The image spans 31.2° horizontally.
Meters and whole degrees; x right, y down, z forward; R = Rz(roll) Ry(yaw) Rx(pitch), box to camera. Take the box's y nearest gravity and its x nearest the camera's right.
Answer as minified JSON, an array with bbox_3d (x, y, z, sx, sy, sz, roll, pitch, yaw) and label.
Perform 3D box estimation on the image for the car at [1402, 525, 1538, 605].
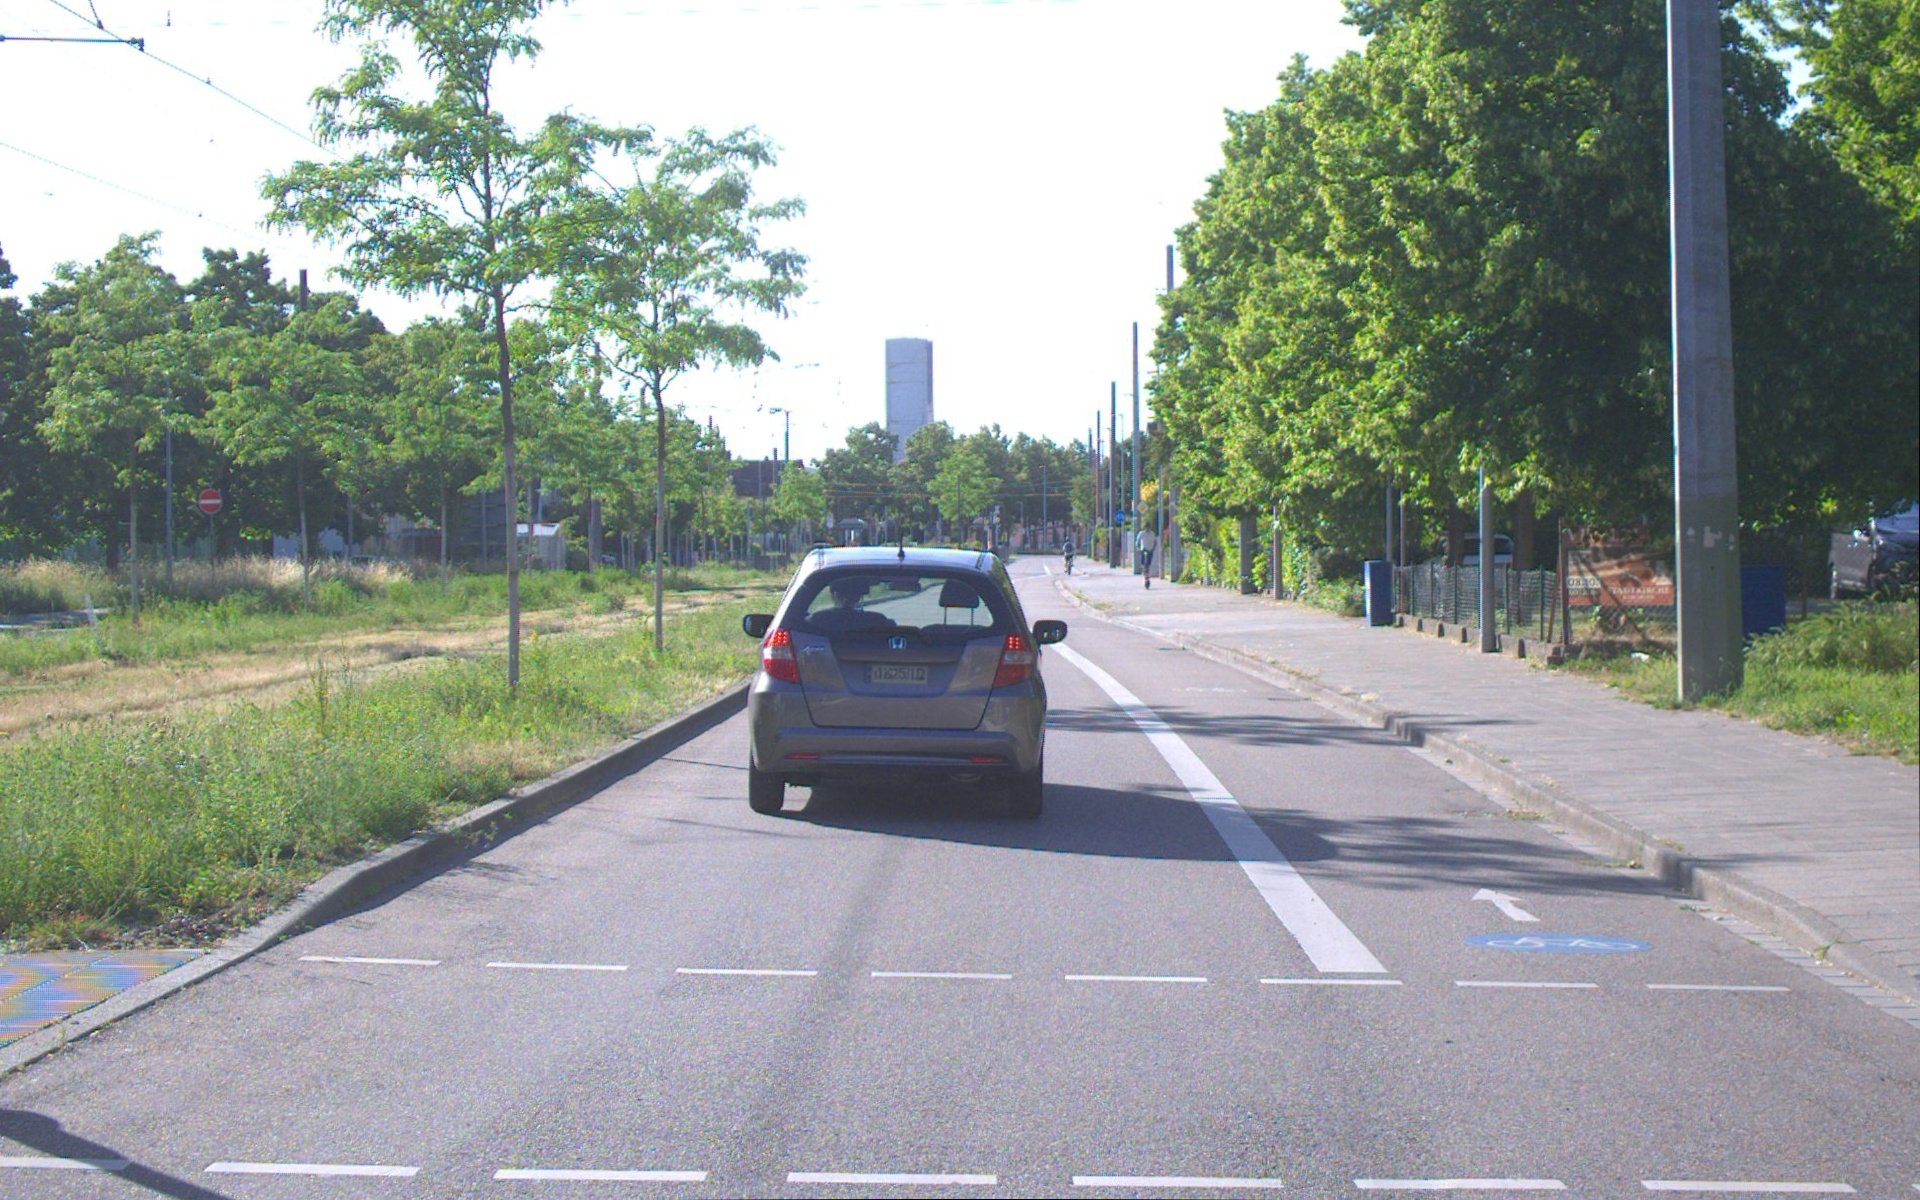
[{"bbox_3d":[9.410,-0.669,63.646,1.774,1.382,3.870,-2,1,-2],"label":"car"}]

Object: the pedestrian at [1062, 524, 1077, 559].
[{"bbox_3d":[5.610,-2.997,176.097,0.722,1.794,1.164,-1,1,0],"label":"pedestrian"}]

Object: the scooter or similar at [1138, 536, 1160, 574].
[{"bbox_3d":[5.570,-1.321,101.223,0.539,1.114,1.417,-1,1,-1],"label":"scooter or similar"}]

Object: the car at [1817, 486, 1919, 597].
[{"bbox_3d":[17.282,-1.079,63.058,1.872,1.960,5.167,0,1,1],"label":"car"}]

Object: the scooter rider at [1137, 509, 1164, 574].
[{"bbox_3d":[5.603,-1.736,101.229,0.716,1.894,0.935,-1,1,-1],"label":"scooter rider"}]

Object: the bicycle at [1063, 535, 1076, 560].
[{"bbox_3d":[5.619,-2.706,176.145,0.512,1.237,3.090,-1,1,0],"label":"bicycle"}]

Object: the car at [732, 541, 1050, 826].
[{"bbox_3d":[-0.333,0.423,20.403,1.624,1.494,3.456,1,1,3],"label":"car"}]
